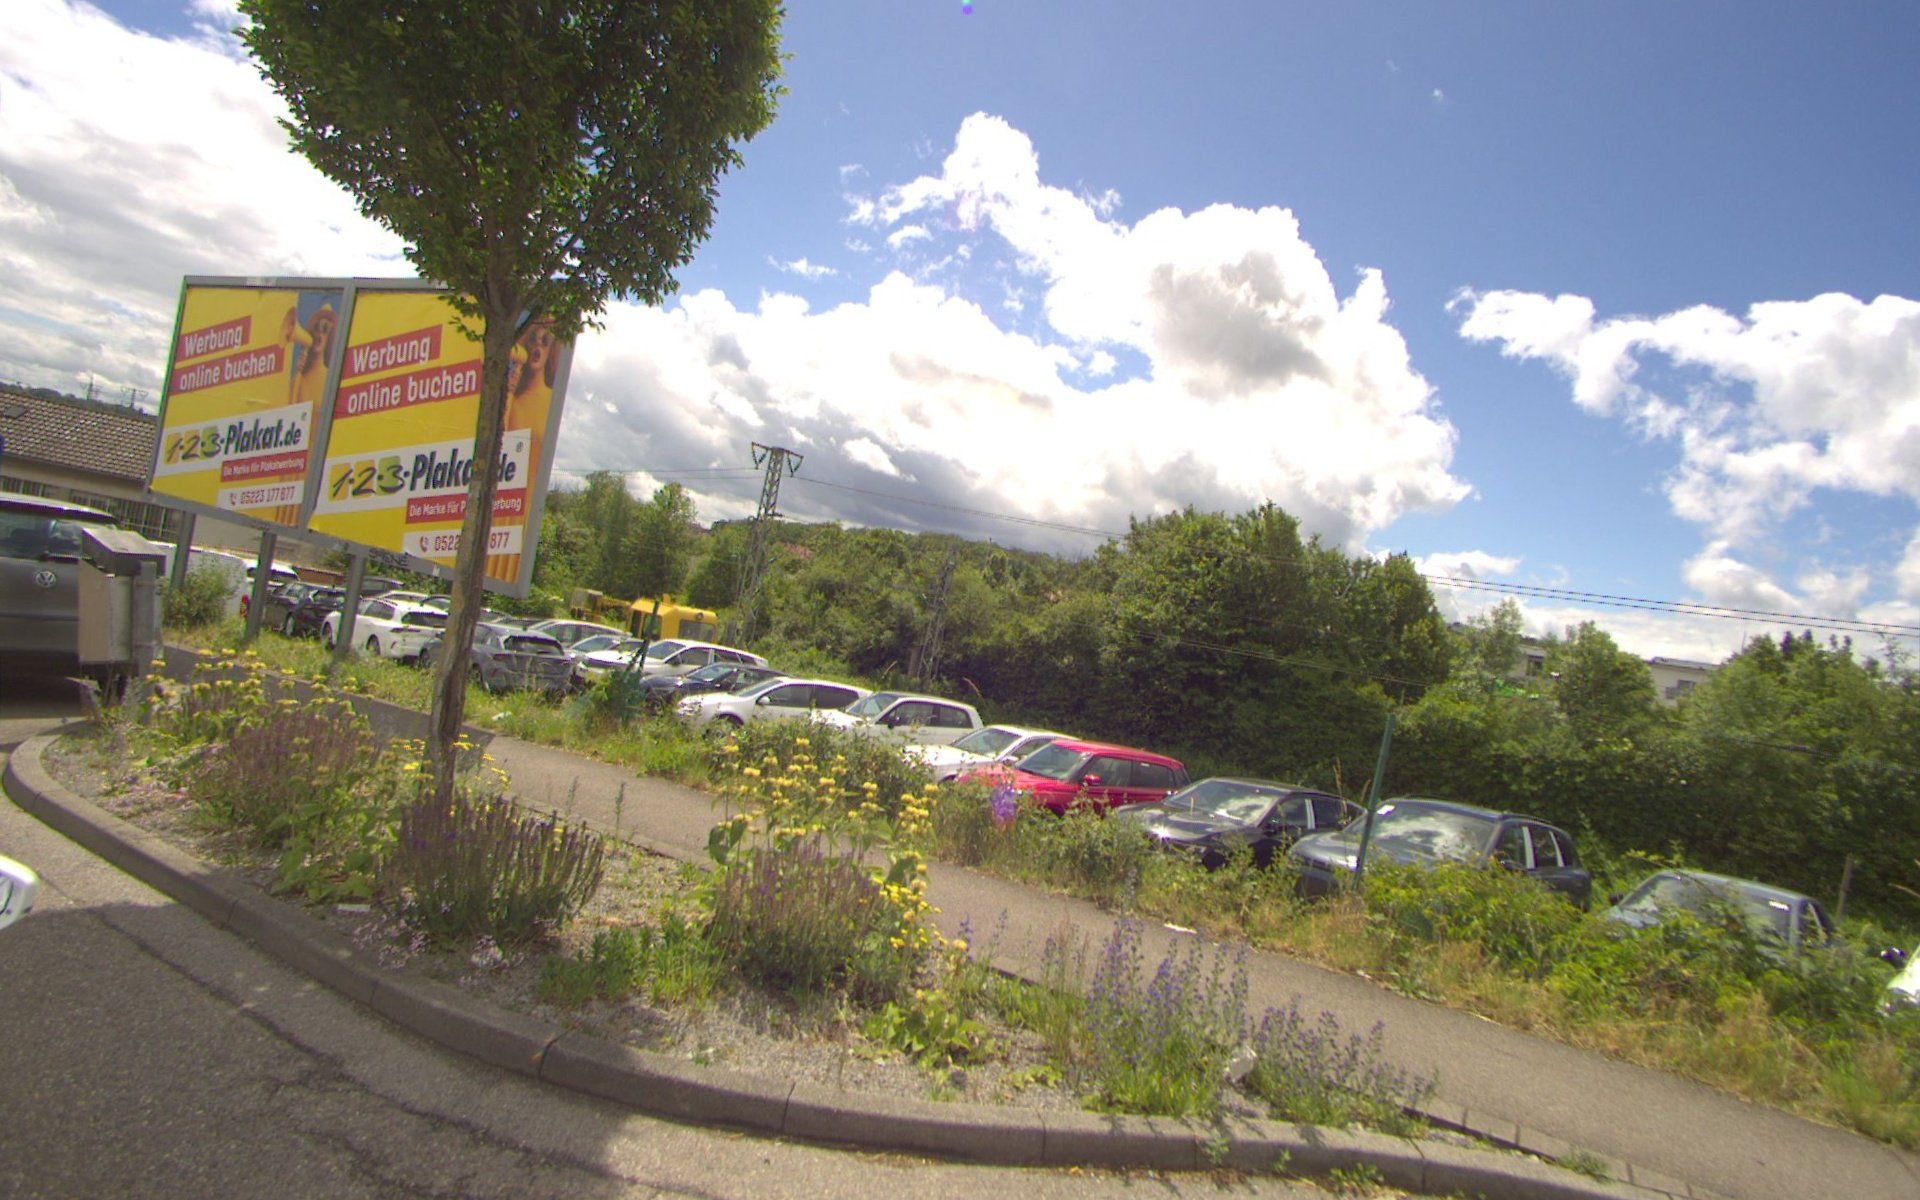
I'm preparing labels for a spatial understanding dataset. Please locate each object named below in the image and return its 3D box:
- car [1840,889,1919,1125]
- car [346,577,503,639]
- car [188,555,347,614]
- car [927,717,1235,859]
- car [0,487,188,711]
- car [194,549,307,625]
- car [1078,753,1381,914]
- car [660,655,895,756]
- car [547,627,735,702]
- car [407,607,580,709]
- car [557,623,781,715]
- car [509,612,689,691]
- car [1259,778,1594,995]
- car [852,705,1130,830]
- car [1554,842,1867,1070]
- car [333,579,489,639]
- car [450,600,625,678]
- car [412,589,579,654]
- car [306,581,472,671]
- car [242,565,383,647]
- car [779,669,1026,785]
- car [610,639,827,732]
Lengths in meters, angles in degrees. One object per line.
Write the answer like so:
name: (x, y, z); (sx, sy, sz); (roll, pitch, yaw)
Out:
car: (9.456, 3.602, 8.859); (3.967, 1.659, 1.625); (9, -2, -36)
car: (-16.412, 0.265, 30.905); (3.970, 1.407, 1.580); (8, -1, -38)
car: (-22.525, -0.496, 32.890); (3.996, 1.407, 1.514); (8, -1, -27)
car: (1.760, 2.691, 14.336); (3.959, 1.504, 1.799); (9, -2, -30)
car: (-8.034, -0.185, 7.943); (3.977, 1.503, 1.658); (7, 0, 31)
car: (-21.144, -0.421, 29.895); (4.616, 1.705, 1.746); (7, 0, 43)
car: (3.545, 2.889, 12.860); (3.973, 1.462, 1.658); (10, -2, -40)
car: (-3.467, 2.026, 19.216); (3.993, 1.369, 1.727); (9, -2, -27)
car: (-7.810, 1.623, 24.837); (1.733, 1.345, 3.980); (6, -3, 45)
car: (-9.661, 1.155, 20.690); (4.098, 1.462, 1.693); (6, -3, 43)
car: (-6.550, 1.628, 23.058); (1.973, 1.572, 4.442); (6, -2, 42)
car: (-9.471, 1.394, 26.601); (1.799, 1.577, 3.980); (6, -2, 45)
car: (5.258, 2.988, 11.116); (3.972, 1.654, 1.698); (9, -2, -40)
car: (0.527, 2.659, 15.886); (3.959, 1.467, 1.732); (9, -2, -30)
car: (7.797, 3.431, 10.313); (3.973, 1.397, 1.647); (10, -2, -40)
car: (-17.901, 0.320, 32.909); (4.155, 1.407, 1.771); (8, -1, -39)
car: (-11.715, 1.112, 28.060); (1.773, 1.630, 3.980); (6, -2, 45)
car: (-13.529, 0.647, 29.462); (1.722, 1.407, 4.020); (7, -1, 45)
car: (-13.491, 0.591, 23.666); (4.514, 1.536, 1.751); (7, -1, 39)
car: (-17.121, 0.129, 26.520); (4.399, 1.641, 1.810); (7, -1, 40)
car: (-1.001, 2.304, 18.137); (3.959, 1.558, 1.774); (9, -2, -31)
car: (-4.986, 1.820, 21.057); (3.974, 1.458, 1.717); (10, -2, -41)
